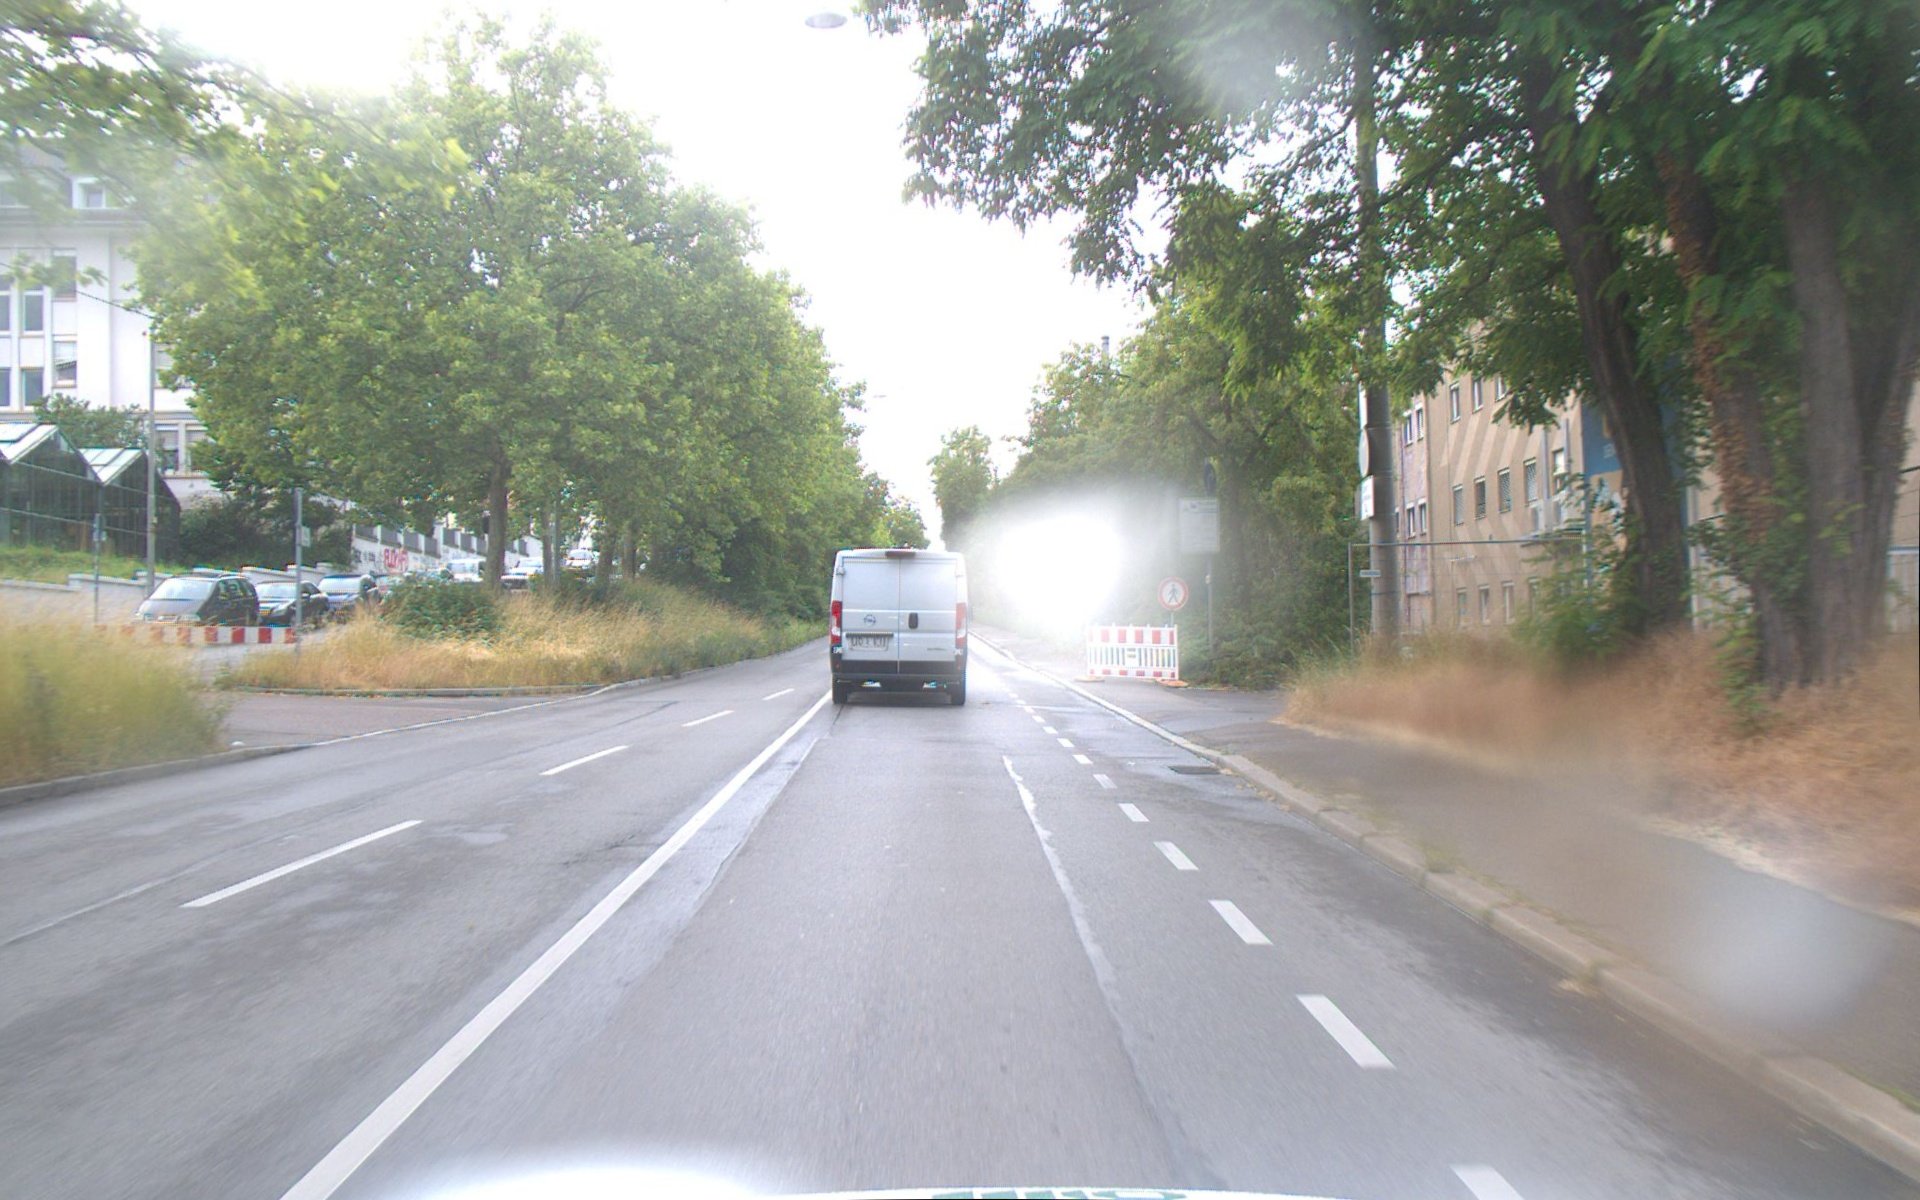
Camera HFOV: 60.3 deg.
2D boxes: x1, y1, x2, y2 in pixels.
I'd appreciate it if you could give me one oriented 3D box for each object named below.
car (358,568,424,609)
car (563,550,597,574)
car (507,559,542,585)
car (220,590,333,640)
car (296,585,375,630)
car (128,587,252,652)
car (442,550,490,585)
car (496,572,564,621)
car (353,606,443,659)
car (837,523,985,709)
[{"bbox_3d":[-20.354,-0.393,59.228,1.332,1.333,3.085,-1,-2,-1],"label":"car"},{"bbox_3d":[-23.211,-2.314,101.160,1.568,1.272,2.907,-1,-2,-5],"label":"car"},{"bbox_3d":[-22.260,-1.430,84.662,1.189,1.153,2.451,-1,-2,-2],"label":"car"},{"bbox_3d":[-19.609,0.459,47.629,1.780,1.313,4.118,-1,-2,-4],"label":"car"},{"bbox_3d":[-19.720,0.260,52.358,1.435,1.313,3.302,-1,-2,-4],"label":"car"},{"bbox_3d":[-19.094,0.521,41.150,1.616,1.513,3.514,-1,-2,-4],"label":"car"},{"bbox_3d":[-21.120,-1.382,70.760,1.355,1.321,3.012,-1,-2,-5],"label":"car"},{"bbox_3d":[-13.369,-0.085,51.557,1.406,1.385,3.173,-1,-2,-2],"label":"car"},{"bbox_3d":[-13.119,0.781,38.712,1.323,1.150,2.750,-1,-2,-4],"label":"car"},{"bbox_3d":[-0.749,0.209,26.025,2.008,2.560,4.942,2,0,-1],"label":"car"}]
